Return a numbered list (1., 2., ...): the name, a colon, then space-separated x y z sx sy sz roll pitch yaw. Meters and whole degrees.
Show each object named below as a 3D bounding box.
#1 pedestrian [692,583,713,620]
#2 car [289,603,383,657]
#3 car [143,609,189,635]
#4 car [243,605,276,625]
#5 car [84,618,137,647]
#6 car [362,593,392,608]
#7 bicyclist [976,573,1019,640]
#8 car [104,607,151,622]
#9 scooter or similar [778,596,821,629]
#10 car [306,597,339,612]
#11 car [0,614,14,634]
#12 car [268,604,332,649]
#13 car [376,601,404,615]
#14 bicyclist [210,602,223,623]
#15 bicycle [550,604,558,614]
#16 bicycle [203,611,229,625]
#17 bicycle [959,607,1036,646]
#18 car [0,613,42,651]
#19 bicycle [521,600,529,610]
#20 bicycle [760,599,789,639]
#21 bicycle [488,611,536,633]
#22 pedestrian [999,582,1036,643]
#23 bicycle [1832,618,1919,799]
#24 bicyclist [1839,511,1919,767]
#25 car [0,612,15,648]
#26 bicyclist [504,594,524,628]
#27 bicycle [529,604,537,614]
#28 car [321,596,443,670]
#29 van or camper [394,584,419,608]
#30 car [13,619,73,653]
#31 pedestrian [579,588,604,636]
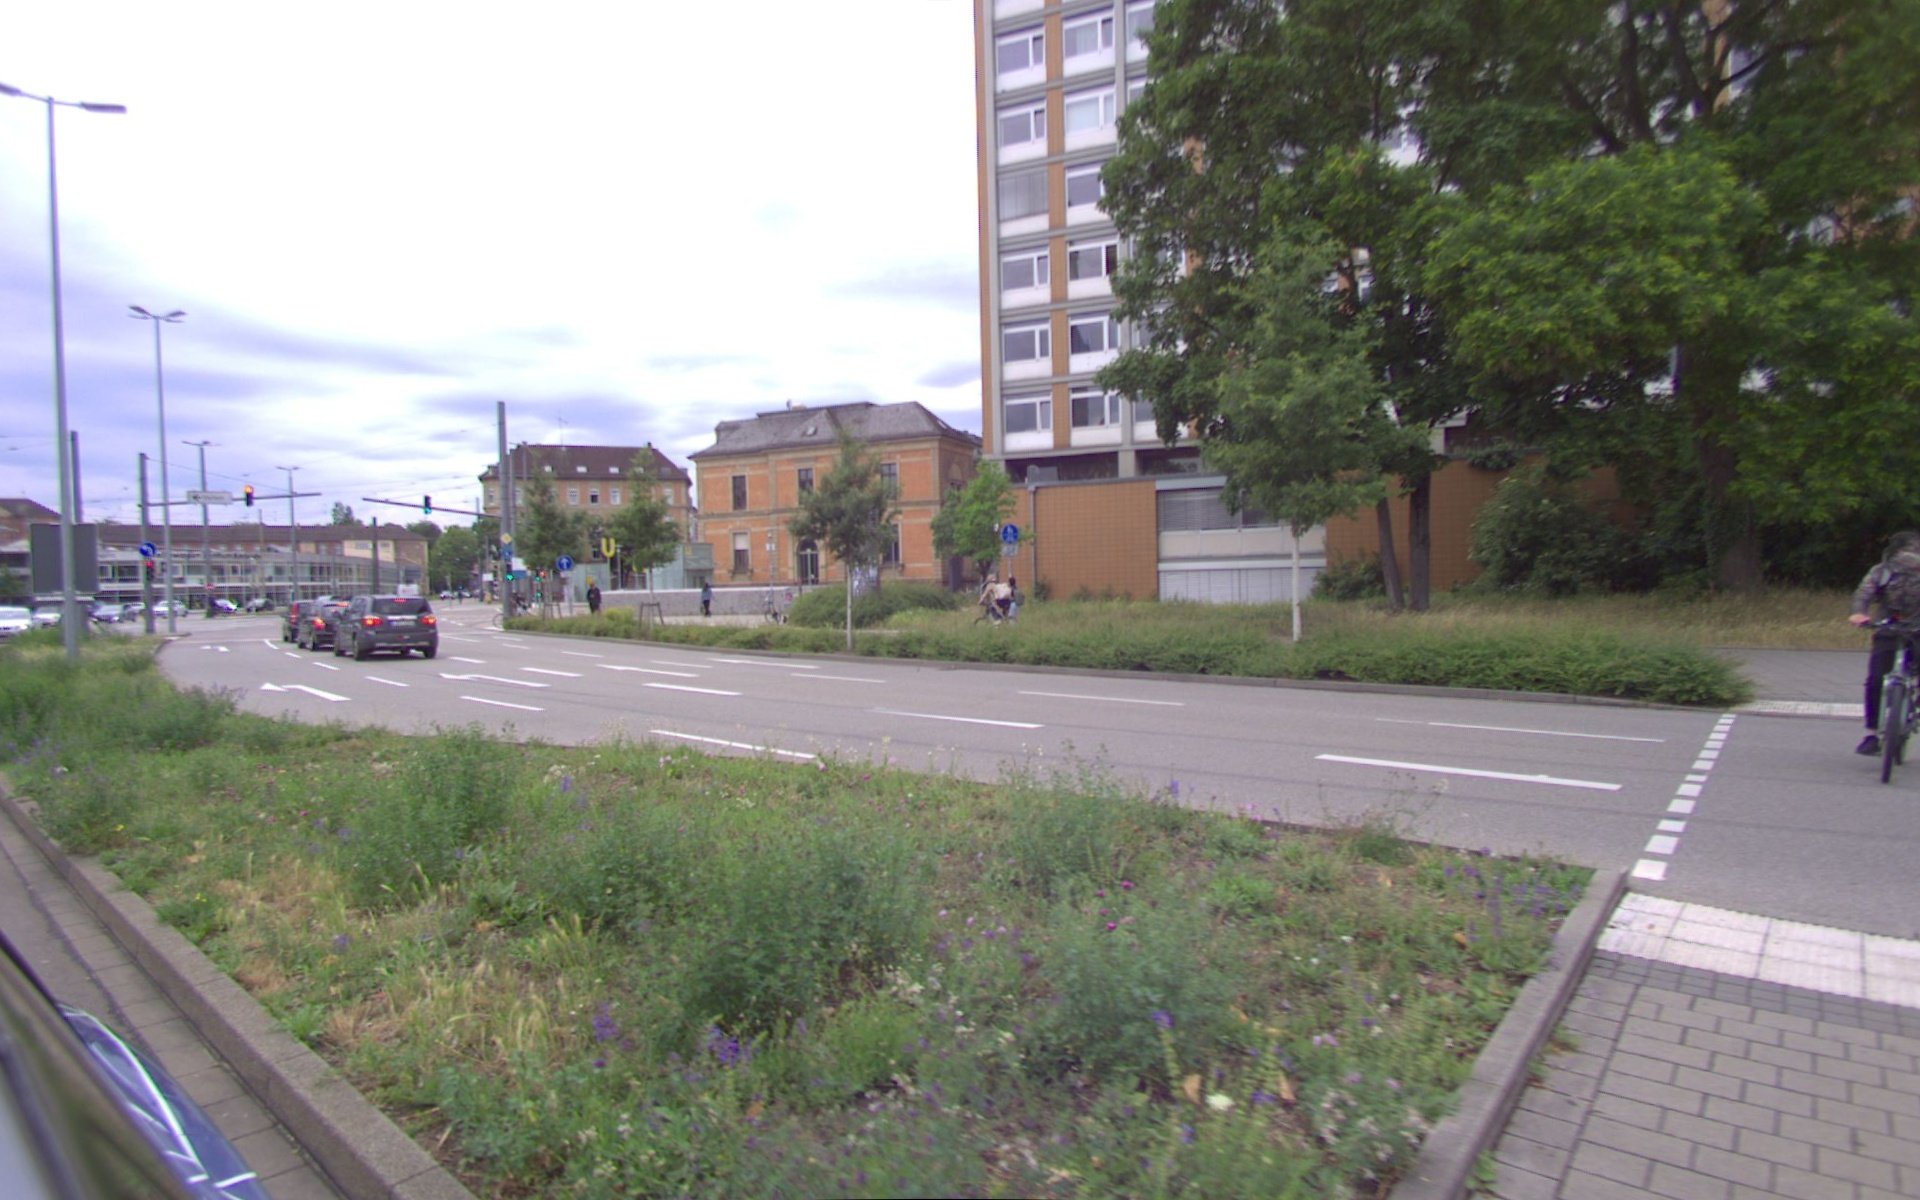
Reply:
1. pedestrian: -12.477 0.065 49.096 0.737 1.747 0.687 -1 0 -35
2. car: -19.142 0.895 30.960 1.847 1.519 4.487 1 -1 -39
3. car: -68.733 1.875 87.675 1.965 2.029 4.013 -2 1 -21
4. car: -75.261 1.602 108.822 1.965 2.029 4.013 -2 1 -21
5. car: -64.186 2.403 76.513 1.965 2.029 4.013 -2 1 -24
6. car: -86.426 0.066 150.149 2.335 2.149 5.142 -2 1 -12
7. bicyclist: 0.905 0.138 24.495 0.707 1.582 0.712 -3 2 -44
8. car: -93.250 1.586 113.394 3.841 1.452 1.738 -2 1 -31
9. scooter or similar: -6.583 0.505 41.513 0.629 1.312 1.754 -2 0 37
10. car: -79.695 0.549 126.563 2.334 1.768 5.145 -2 1 -18
11. car: -100.081 2.525 105.325 1.926 1.655 4.684 -2 5 -39
12. car: -24.075 0.933 36.883 1.597 1.527 3.672 -1 0 -38
13. car: -87.947 1.181 156.246 2.335 2.037 5.142 -2 1 -12
14. bicyclist: -59.094 1.001 80.391 0.516 1.651 0.648 -1 0 30
15. bicycle: -47.328 1.041 117.951 0.742 1.038 2.404 -2 1 -21
16. bicycle: -59.106 1.426 80.403 0.526 1.078 1.598 -1 1 29
17. bicycle: 0.889 0.633 24.550 0.707 0.889 1.885 -3 1 -44
18. car: -40.136 1.336 42.414 1.942 1.466 4.203 -2 1 -36
19. bicycle: -50.267 0.579 116.932 0.823 1.038 2.404 -2 1 -21
20. bicycle: -7.064 0.699 38.437 0.835 1.459 2.261 -2 1 -16
21. bicycle: -22.339 1.093 50.459 2.084 1.036 0.797 -1 0 -31
22. pedestrian: 1.519 0.331 26.735 0.555 1.553 0.756 -4 2 -44
23. bicycle: 7.211 0.756 7.596 1.878 1.167 0.792 -2 1 -43
24. bicyclist: 7.244 0.271 7.646 0.821 1.858 0.793 -2 0 -43
25. car: -54.725 1.707 56.237 1.965 2.029 4.013 -2 1 -24
26. bicyclist: -22.259 0.546 50.496 0.801 1.669 0.796 -2 1 -31
27. bicycle: -49.500 1.029 117.214 0.742 1.038 2.404 -2 1 -21
28. car: -15.200 0.807 26.481 1.848 1.738 4.719 -1 0 -41
29. van or camper: -59.621 -0.428 109.040 2.247 2.546 5.591 -1 0 -28
30. car: -58.399 2.257 64.540 1.966 2.029 4.012 -2 1 -30
31. pedestrian: -15.572 0.500 42.790 0.808 1.995 0.660 -1 0 -35
